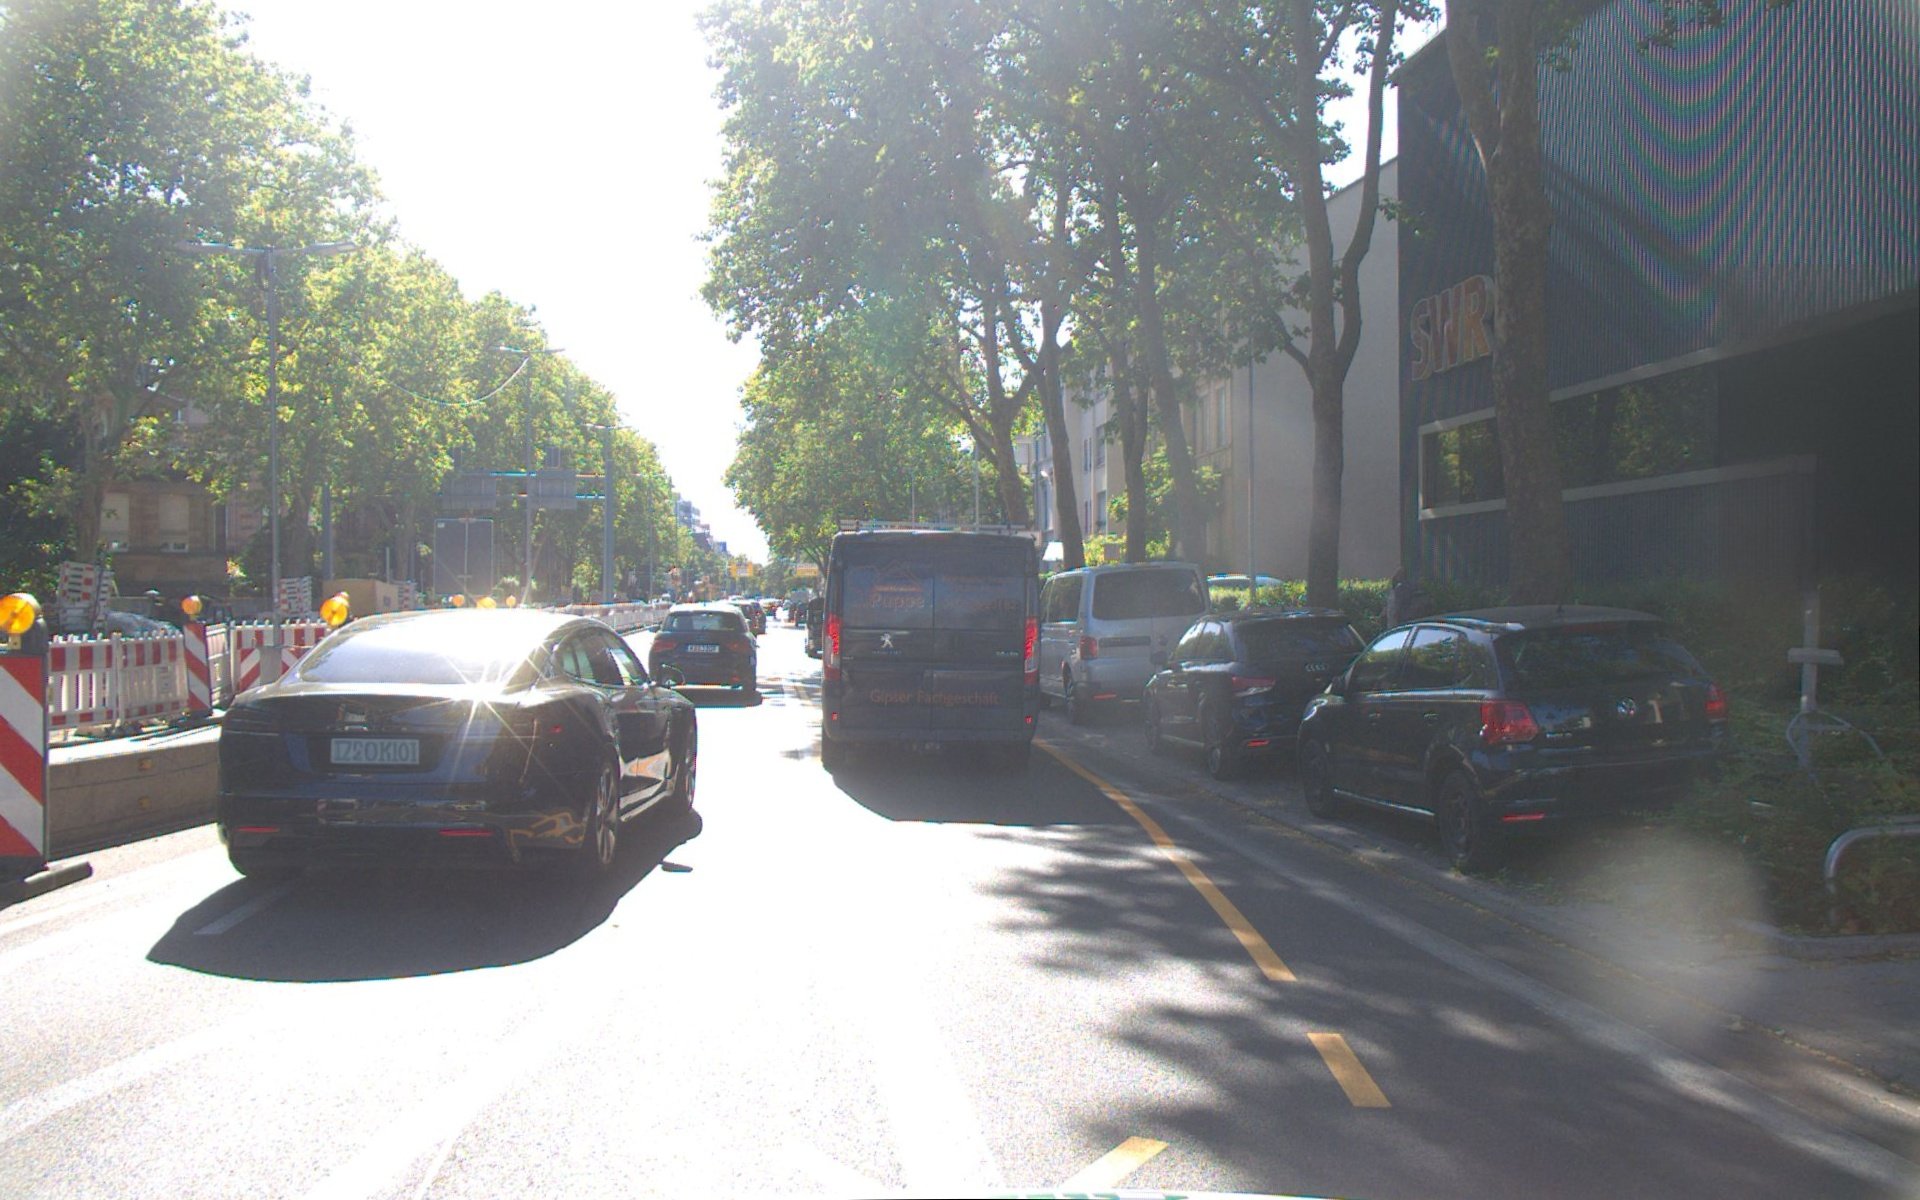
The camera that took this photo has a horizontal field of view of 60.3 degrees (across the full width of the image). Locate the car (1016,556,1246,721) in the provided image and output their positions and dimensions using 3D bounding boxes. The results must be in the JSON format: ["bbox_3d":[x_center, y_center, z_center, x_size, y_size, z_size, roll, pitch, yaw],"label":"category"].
[{"bbox_3d":[2.163,0.467,22.604,1.987,1.980,5.264,0,0,-7],"label":"car"}]

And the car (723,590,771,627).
[{"bbox_3d":[-9.653,0.395,75.117,1.954,1.616,3.996,0,0,-4],"label":"car"}]

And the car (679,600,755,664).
[{"bbox_3d":[-5.771,0.743,39.545,1.517,1.450,3.552,1,0,-4],"label":"car"}]

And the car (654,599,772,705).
[{"bbox_3d":[-3.966,0.780,26.589,1.714,1.431,3.993,1,2,-9],"label":"car"}]

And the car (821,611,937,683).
[{"bbox_3d":[-1.618,0.852,31.712,1.883,1.271,3.993,0,0,-8],"label":"car"}]

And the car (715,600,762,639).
[{"bbox_3d":[-7.347,0.646,55.037,1.393,1.246,3.433,0,0,-6],"label":"car"}]

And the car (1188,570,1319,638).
[{"bbox_3d":[8.391,0.102,47.457,1.693,1.886,3.458,1,0,-39],"label":"car"}]

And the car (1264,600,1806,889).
[{"bbox_3d":[3.504,0.772,11.017,1.730,1.534,4.244,0,0,-7],"label":"car"}]

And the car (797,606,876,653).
[{"bbox_3d":[-3.515,0.797,46.515,1.956,1.271,3.993,0,0,-8],"label":"car"}]

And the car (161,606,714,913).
[{"bbox_3d":[-2.822,0.765,10.156,1.885,1.436,4.626,0,0,1],"label":"car"}]

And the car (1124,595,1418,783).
[{"bbox_3d":[2.830,0.760,15.955,1.626,1.567,4.122,1,0,-7],"label":"car"}]

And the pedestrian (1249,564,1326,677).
[{"bbox_3d":[4.841,0.299,24.509,0.714,1.630,1.264,0,0,-10],"label":"pedestrian"}]

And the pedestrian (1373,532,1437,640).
[{"bbox_3d":[7.101,-0.227,26.422,0.693,1.677,0.674,2,2,-10],"label":"pedestrian"}]

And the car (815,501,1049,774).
[{"bbox_3d":[-0.390,0.320,16.590,2.054,2.396,3.929,1,0,-5],"label":"car"}]

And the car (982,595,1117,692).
[{"bbox_3d":[1.455,0.692,28.298,1.714,1.503,4.097,-1,0,-5],"label":"car"}]
